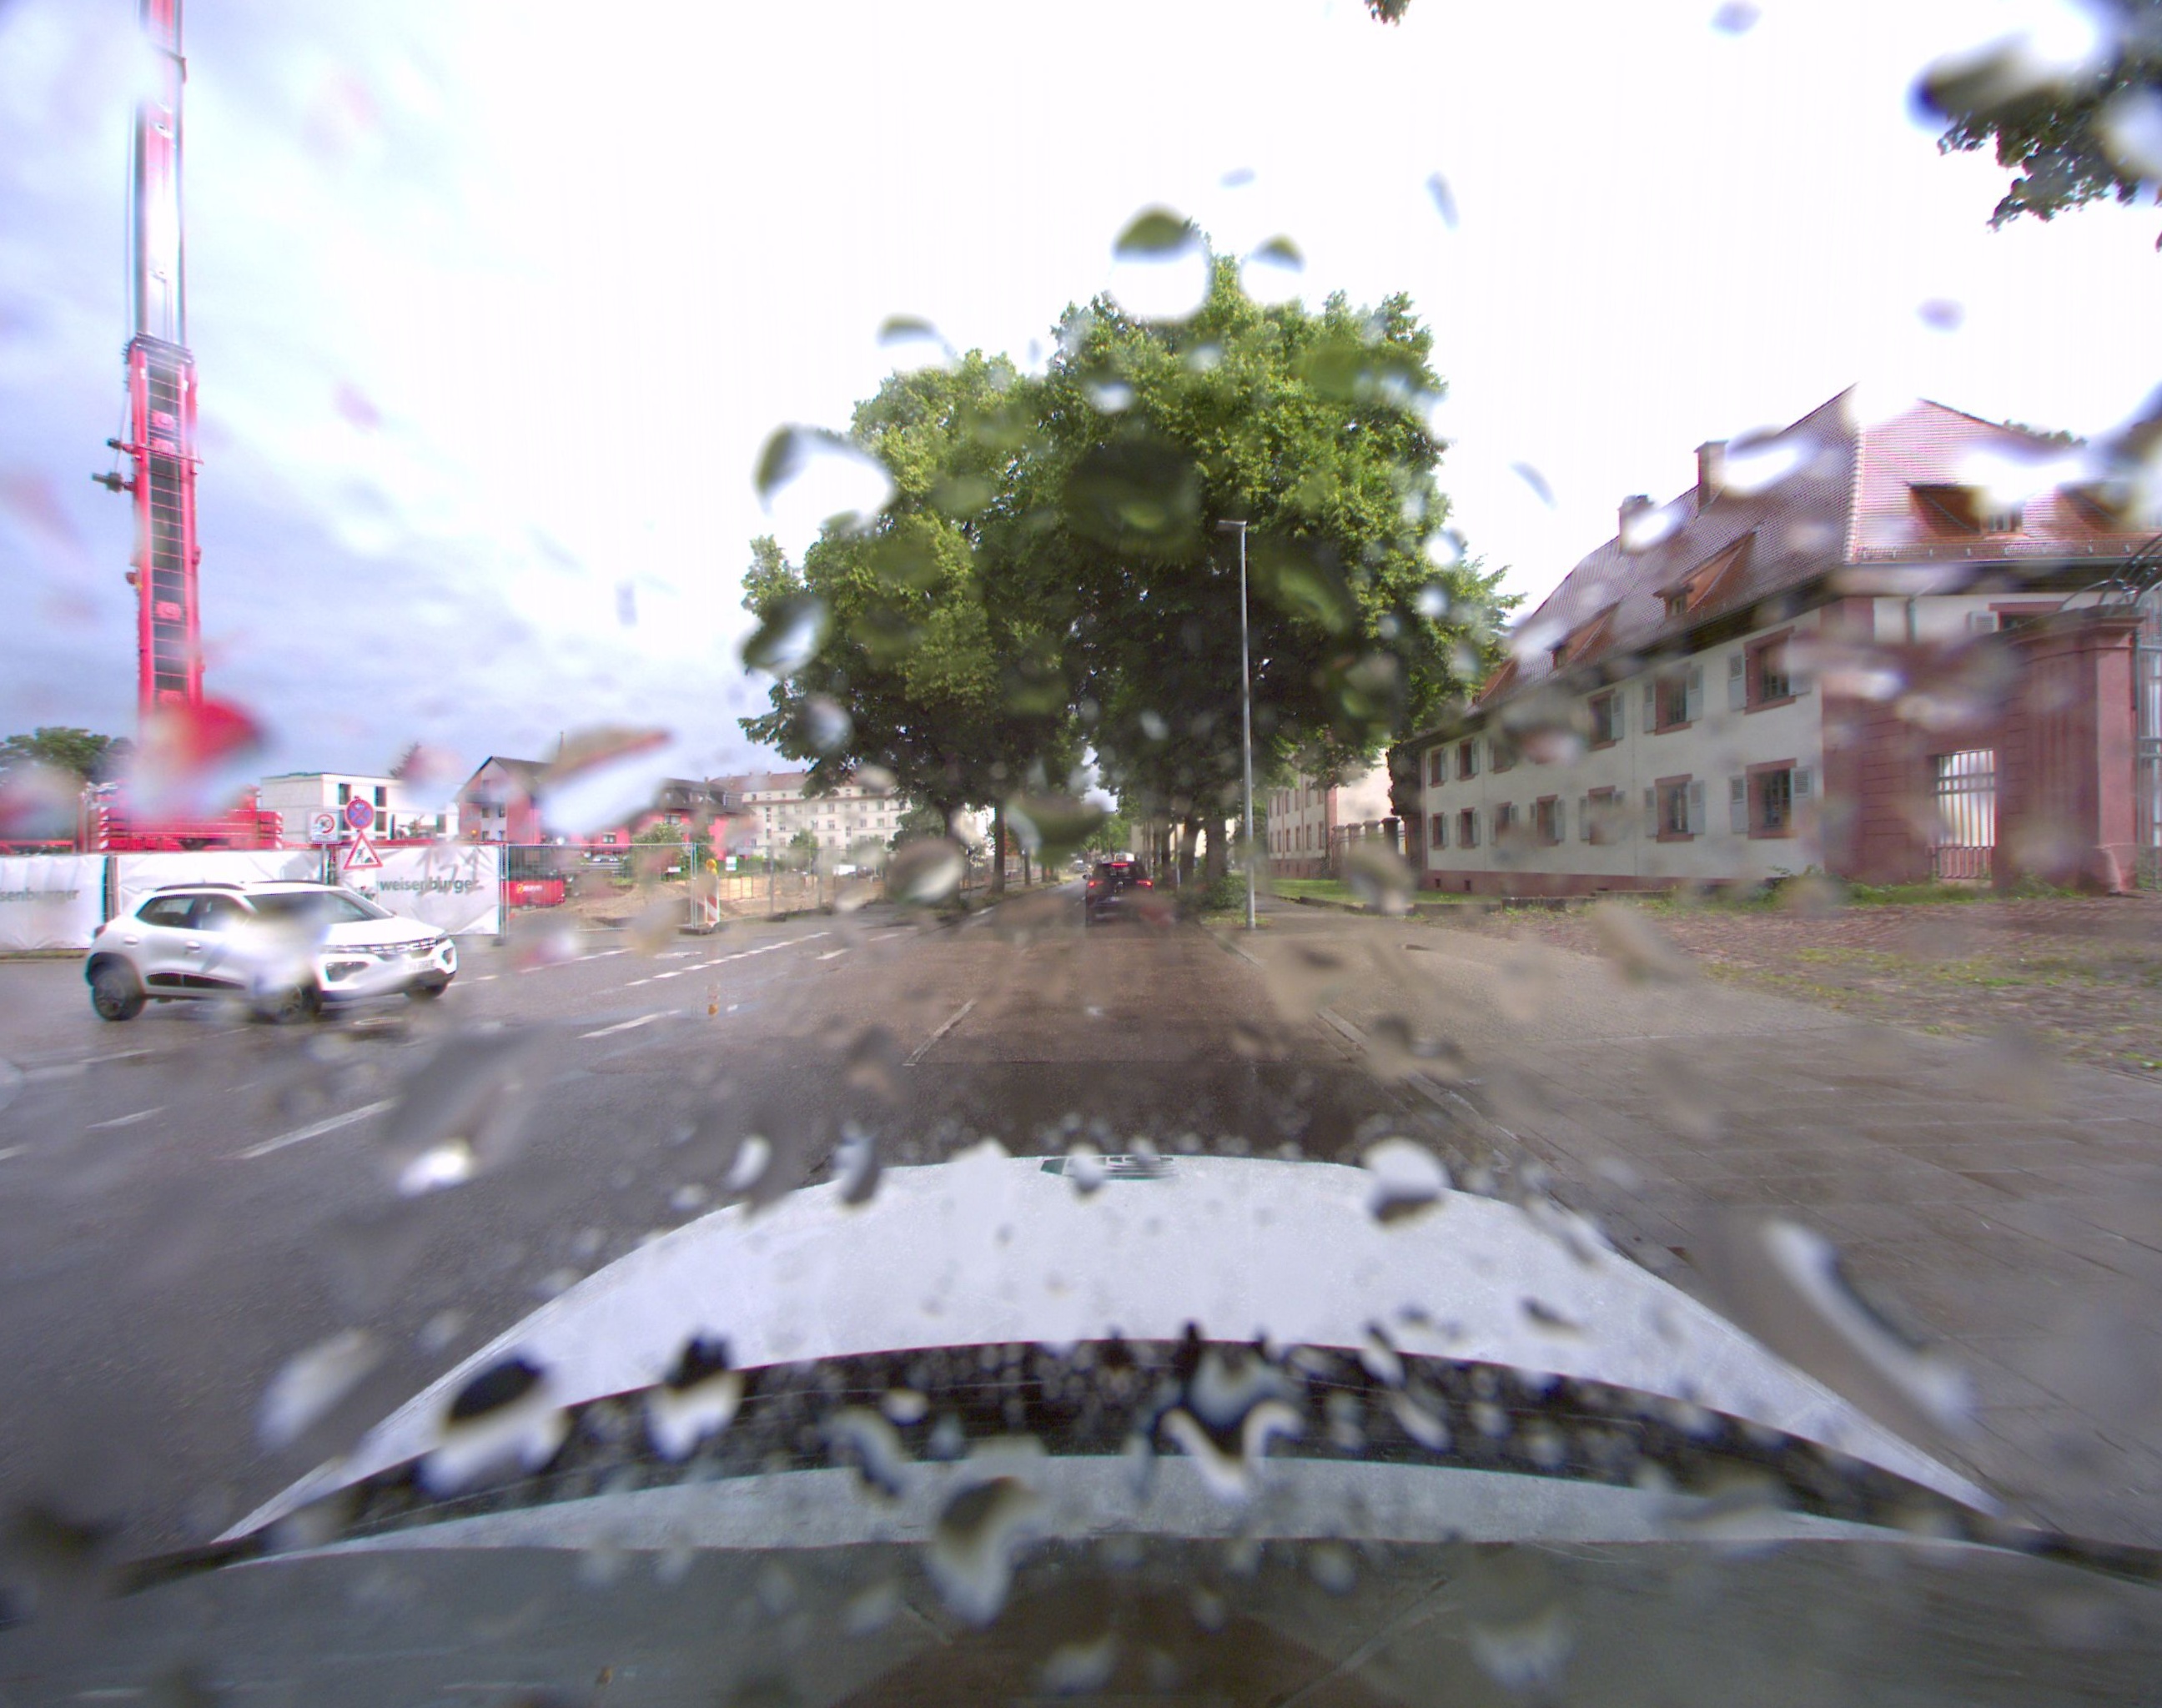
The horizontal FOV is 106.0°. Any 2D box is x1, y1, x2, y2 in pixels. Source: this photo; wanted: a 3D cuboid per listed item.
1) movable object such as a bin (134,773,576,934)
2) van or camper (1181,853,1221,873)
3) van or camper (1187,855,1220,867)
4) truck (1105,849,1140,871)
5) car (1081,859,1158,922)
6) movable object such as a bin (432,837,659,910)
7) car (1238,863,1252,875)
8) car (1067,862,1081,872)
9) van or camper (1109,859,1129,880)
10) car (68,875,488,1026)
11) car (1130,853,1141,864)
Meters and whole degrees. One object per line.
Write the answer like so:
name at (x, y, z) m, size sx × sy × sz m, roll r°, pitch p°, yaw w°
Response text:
movable object such as a bin at (-20.056, 0.000, 22.910) m, size 9.767 × 4.115 × 3.370 m, roll 0°, pitch 0°, yaw 4°
van or camper at (15.782, 1.182, 107.417) m, size 5.014 × 2.596 × 2.168 m, roll -1°, pitch -1°, yaw 1°
van or camper at (18.692, 1.060, 124.722) m, size 4.854 × 1.926 × 2.133 m, roll 0°, pitch 0°, yaw 3°
truck at (5.236, 0.715, 104.561) m, size 2.805 × 2.656 × 8.212 m, roll 0°, pitch 0°, yaw -10°
car at (1.047, 0.920, 21.946) m, size 1.887 × 1.522 × 4.003 m, roll 0°, pitch -1°, yaw 3°
movable object such as a bin at (-49.926, 1.620, 77.242) m, size 6.805 × 6.044 × 16.844 m, roll 0°, pitch 0°, yaw 26°
car at (24.218, 2.169, 120.204) m, size 1.732 × 1.684 × 3.879 m, roll -4°, pitch -1°, yaw 9°
car at (-1.129, 2.166, 133.995) m, size 1.582 × 1.512 × 3.740 m, roll -4°, pitch -1°, yaw 8°
van or camper at (3.726, 1.488, 79.171) m, size 1.811 × 1.948 × 4.199 m, roll 0°, pitch -1°, yaw 4°
car at (-9.356, 1.073, 9.633) m, size 3.583 × 1.534 × 1.743 m, roll -2°, pitch -1°, yaw 10°
car at (10.264, 0.899, 153.263) m, size 1.985 × 2.014 × 4.004 m, roll -1°, pitch -2°, yaw 4°
